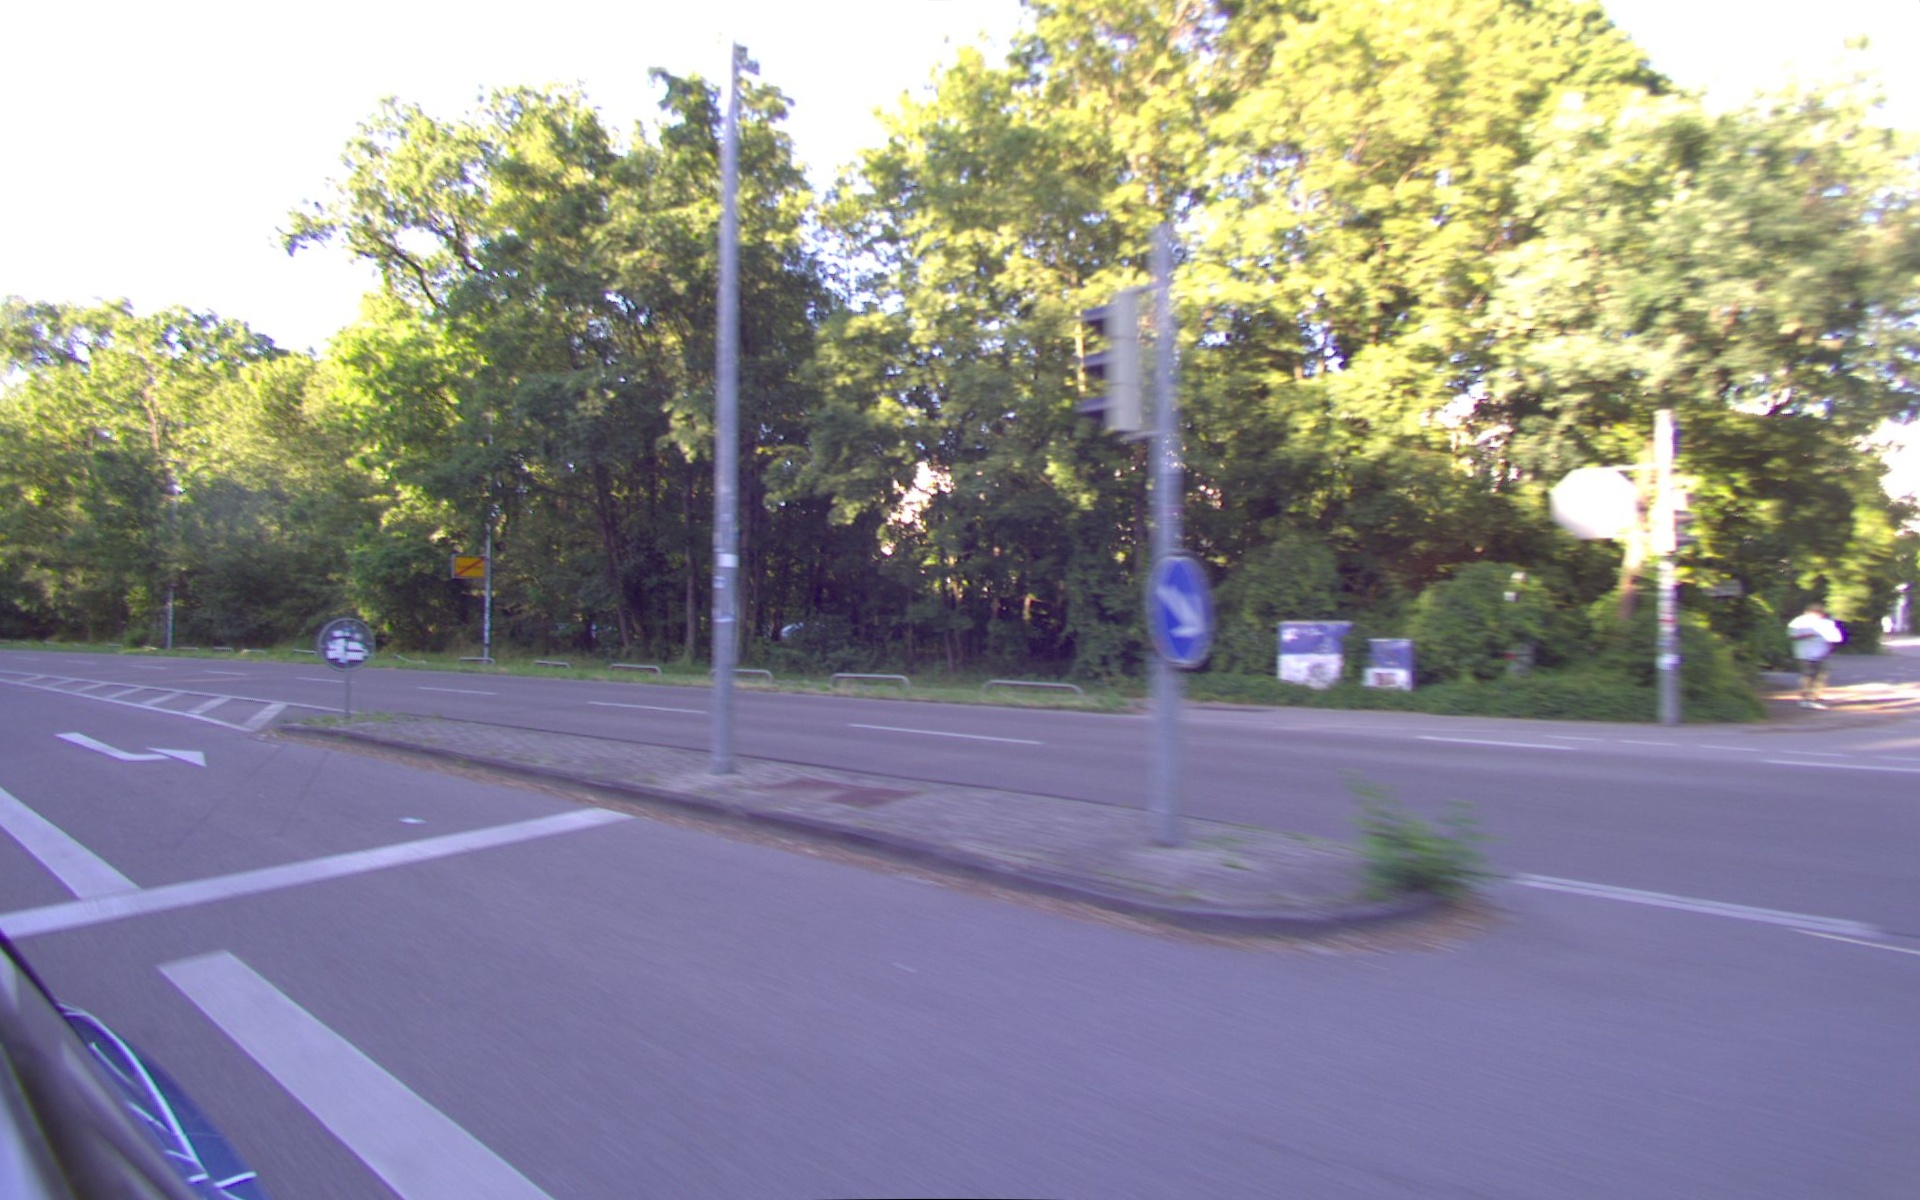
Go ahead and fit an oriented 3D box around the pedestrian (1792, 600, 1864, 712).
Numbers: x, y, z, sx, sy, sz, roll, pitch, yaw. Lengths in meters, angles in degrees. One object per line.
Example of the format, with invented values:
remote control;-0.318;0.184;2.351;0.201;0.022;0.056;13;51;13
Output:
pedestrian;13.881;0.881;16.206;0.819;1.724;0.641;-2;-2;40
